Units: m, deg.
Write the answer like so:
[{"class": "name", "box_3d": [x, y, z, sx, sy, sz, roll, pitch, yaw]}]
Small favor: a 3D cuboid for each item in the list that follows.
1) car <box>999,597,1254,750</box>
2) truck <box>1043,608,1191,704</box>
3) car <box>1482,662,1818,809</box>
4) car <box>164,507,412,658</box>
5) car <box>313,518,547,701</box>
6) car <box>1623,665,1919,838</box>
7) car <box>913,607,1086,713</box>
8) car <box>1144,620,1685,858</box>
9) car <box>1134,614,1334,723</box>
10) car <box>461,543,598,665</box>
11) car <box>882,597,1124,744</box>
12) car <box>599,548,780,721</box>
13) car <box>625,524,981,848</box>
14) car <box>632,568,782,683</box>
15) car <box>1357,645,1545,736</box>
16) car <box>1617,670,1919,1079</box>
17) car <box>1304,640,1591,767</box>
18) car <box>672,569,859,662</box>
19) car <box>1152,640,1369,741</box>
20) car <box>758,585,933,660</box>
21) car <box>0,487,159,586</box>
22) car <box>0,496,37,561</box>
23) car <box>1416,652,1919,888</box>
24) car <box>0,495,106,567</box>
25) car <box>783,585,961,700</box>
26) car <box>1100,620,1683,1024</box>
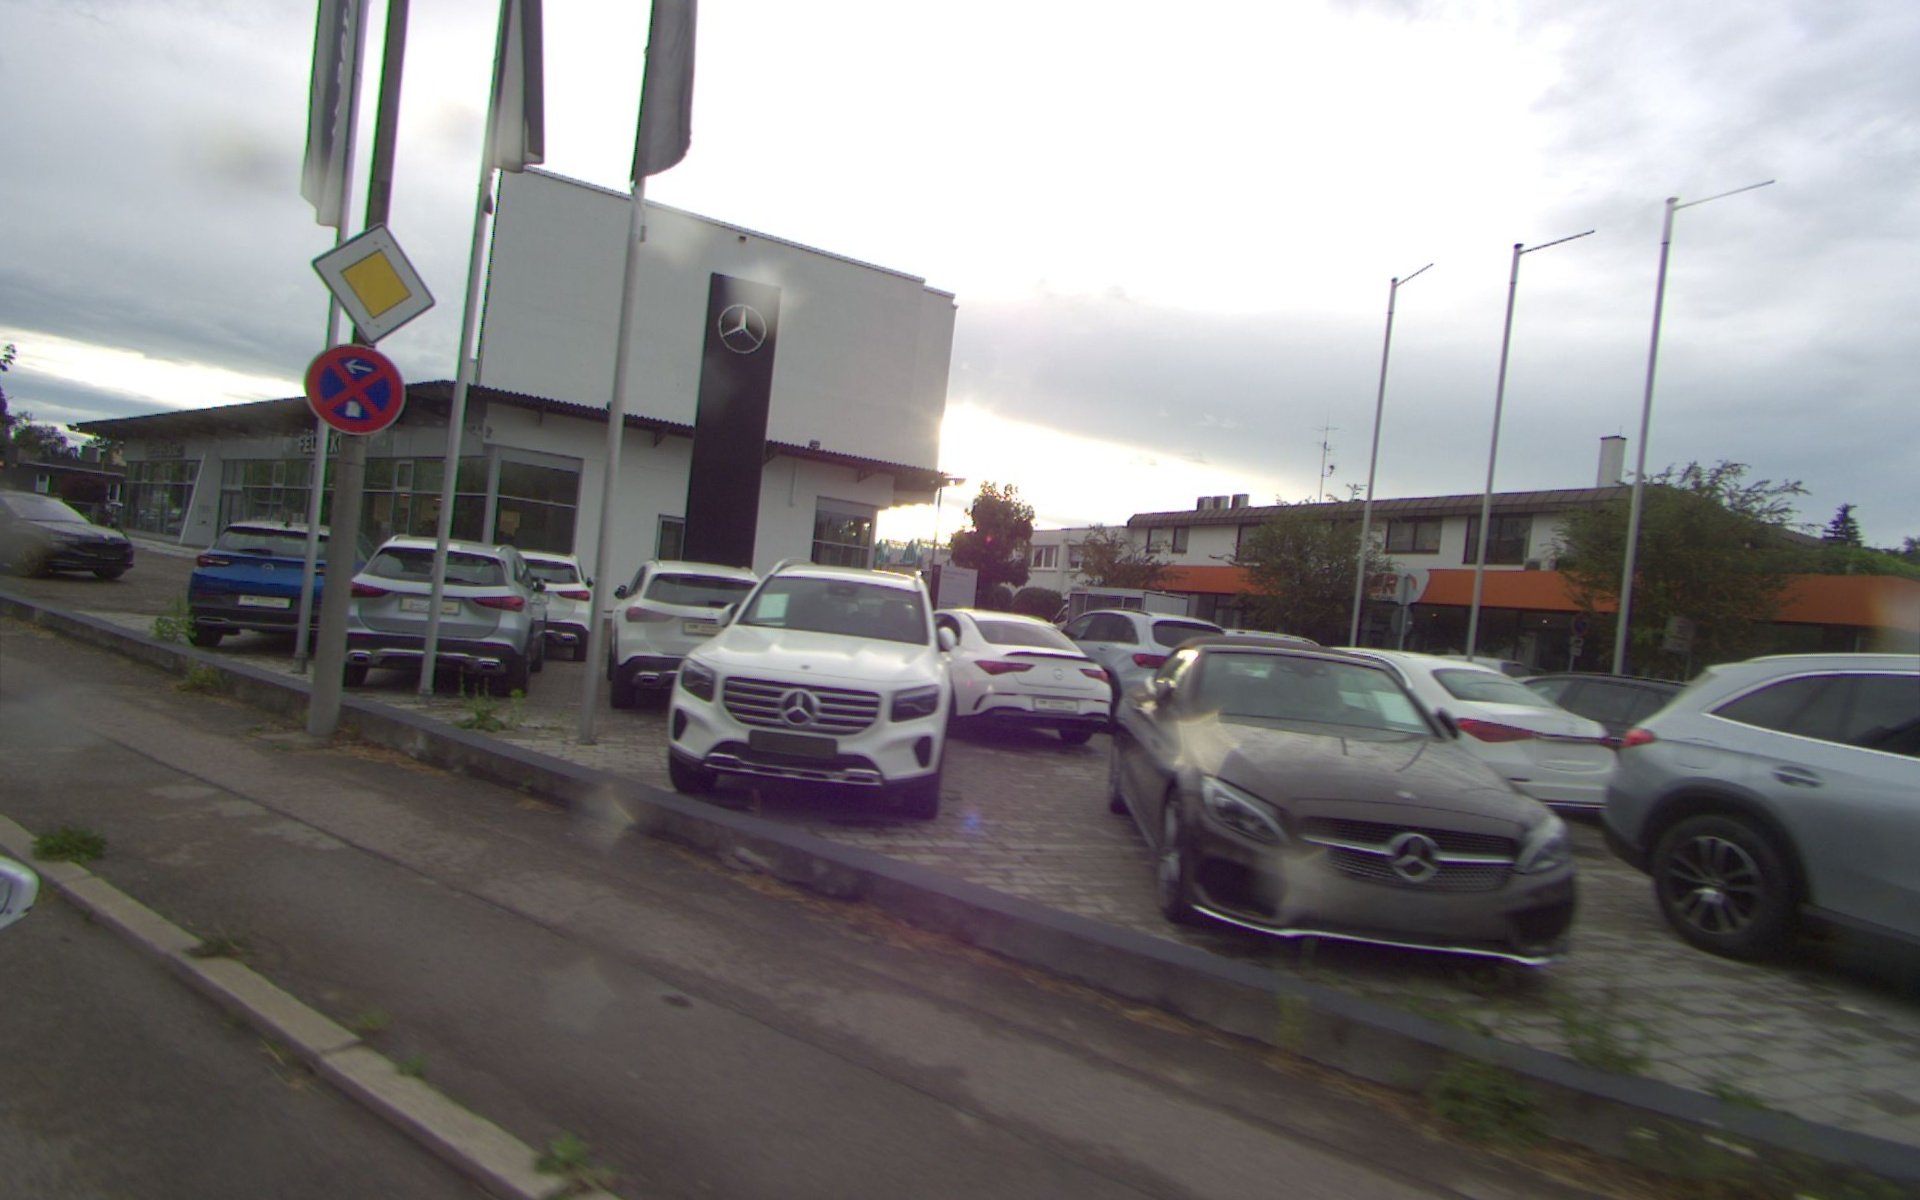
[{"class": "car", "box_3d": [2.215, 0.999, 14.532, 1.657, 1.738, 3.985, 8, -4, -21]}, {"class": "truck", "box_3d": [6.541, 2.286, 42.994, 2.543, 3.451, 6.610, 9, -4, -27]}, {"class": "car", "box_3d": [9.844, 1.927, 14.428, 3.940, 1.452, 1.766, 8, 0, -16]}, {"class": "car", "box_3d": [-9.154, -0.246, 14.144, 1.817, 1.653, 4.347, 5, 0, -20]}, {"class": "car", "box_3d": [-5.878, 0.066, 11.607, 1.707, 1.619, 3.798, 6, 0, -19]}, {"class": "car", "box_3d": [10.646, 1.835, 11.394, 4.675, 1.478, 2.075, 8, 0, 15]}, {"class": "car", "box_3d": [0.635, 1.131, 19.572, 1.749, 1.658, 3.972, 8, -4, -21]}, {"class": "car", "box_3d": [3.990, 1.168, 9.667, 1.945, 1.516, 4.334, 8, -2, -29]}, {"class": "car", "box_3d": [5.289, 1.293, 19.809, 3.385, 1.570, 1.773, 8, 0, 6]}, {"class": "car", "box_3d": [-7.133, 0.000, 16.564, 1.710, 1.619, 4.154, 6, 0, -25]}, {"class": "car", "box_3d": [0.324, 0.786, 12.179, 1.655, 1.471, 3.913, 2, -2, -18]}, {"class": "car", "box_3d": [-3.318, 0.328, 11.918, 1.640, 1.619, 3.543, 6, 0, -20]}, {"class": "car", "box_3d": [-0.987, 0.547, 8.094, 1.892, 1.672, 4.427, 7, -1, -2]}, {"class": "car", "box_3d": [-4.475, 0.354, 17.338, 1.878, 1.564, 3.981, 8, -1, -21]}, {"class": "car", "box_3d": [13.970, 2.526, 28.875, 1.816, 2.035, 4.416, 9, -4, -32]}, {"class": "car", "box_3d": [5.364, 1.365, 3.953, 1.936, 1.690, 4.354, 8, -2, -15]}, {"class": "car", "box_3d": [8.265, 1.719, 17.328, 3.925, 1.478, 1.772, 8, 0, 2]}, {"class": "car", "box_3d": [-4.097, 0.314, 21.040, 3.511, 1.496, 1.773, 7, 0, -19]}, {"class": "car", "box_3d": [4.637, 1.381, 15.792, 1.456, 1.292, 2.951, 8, -5, -34]}, {"class": "car", "box_3d": [-3.191, 0.632, 28.090, 4.358, 1.460, 1.986, 7, 0, -27]}, {"class": "car", "box_3d": [-18.991, -1.401, 20.155, 4.463, 1.628, 1.842, 7, 1, 5]}, {"class": "car", "box_3d": [-26.686, -2.158, 25.720, 3.943, 1.572, 1.894, 9, -3, -18]}, {"class": "car", "box_3d": [6.775, 1.508, 10.223, 1.743, 1.478, 4.117, 8, 0, -10]}, {"class": "car", "box_3d": [-23.615, -1.845, 24.023, 4.384, 1.497, 1.924, 8, -1, -23]}, {"class": "car", "box_3d": [-1.686, 0.671, 17.793, 1.879, 1.564, 3.979, 8, -1, -23]}, {"class": "car", "box_3d": [2.027, 0.951, 6.157, 1.817, 1.411, 4.144, 7, -1, 3]}]
